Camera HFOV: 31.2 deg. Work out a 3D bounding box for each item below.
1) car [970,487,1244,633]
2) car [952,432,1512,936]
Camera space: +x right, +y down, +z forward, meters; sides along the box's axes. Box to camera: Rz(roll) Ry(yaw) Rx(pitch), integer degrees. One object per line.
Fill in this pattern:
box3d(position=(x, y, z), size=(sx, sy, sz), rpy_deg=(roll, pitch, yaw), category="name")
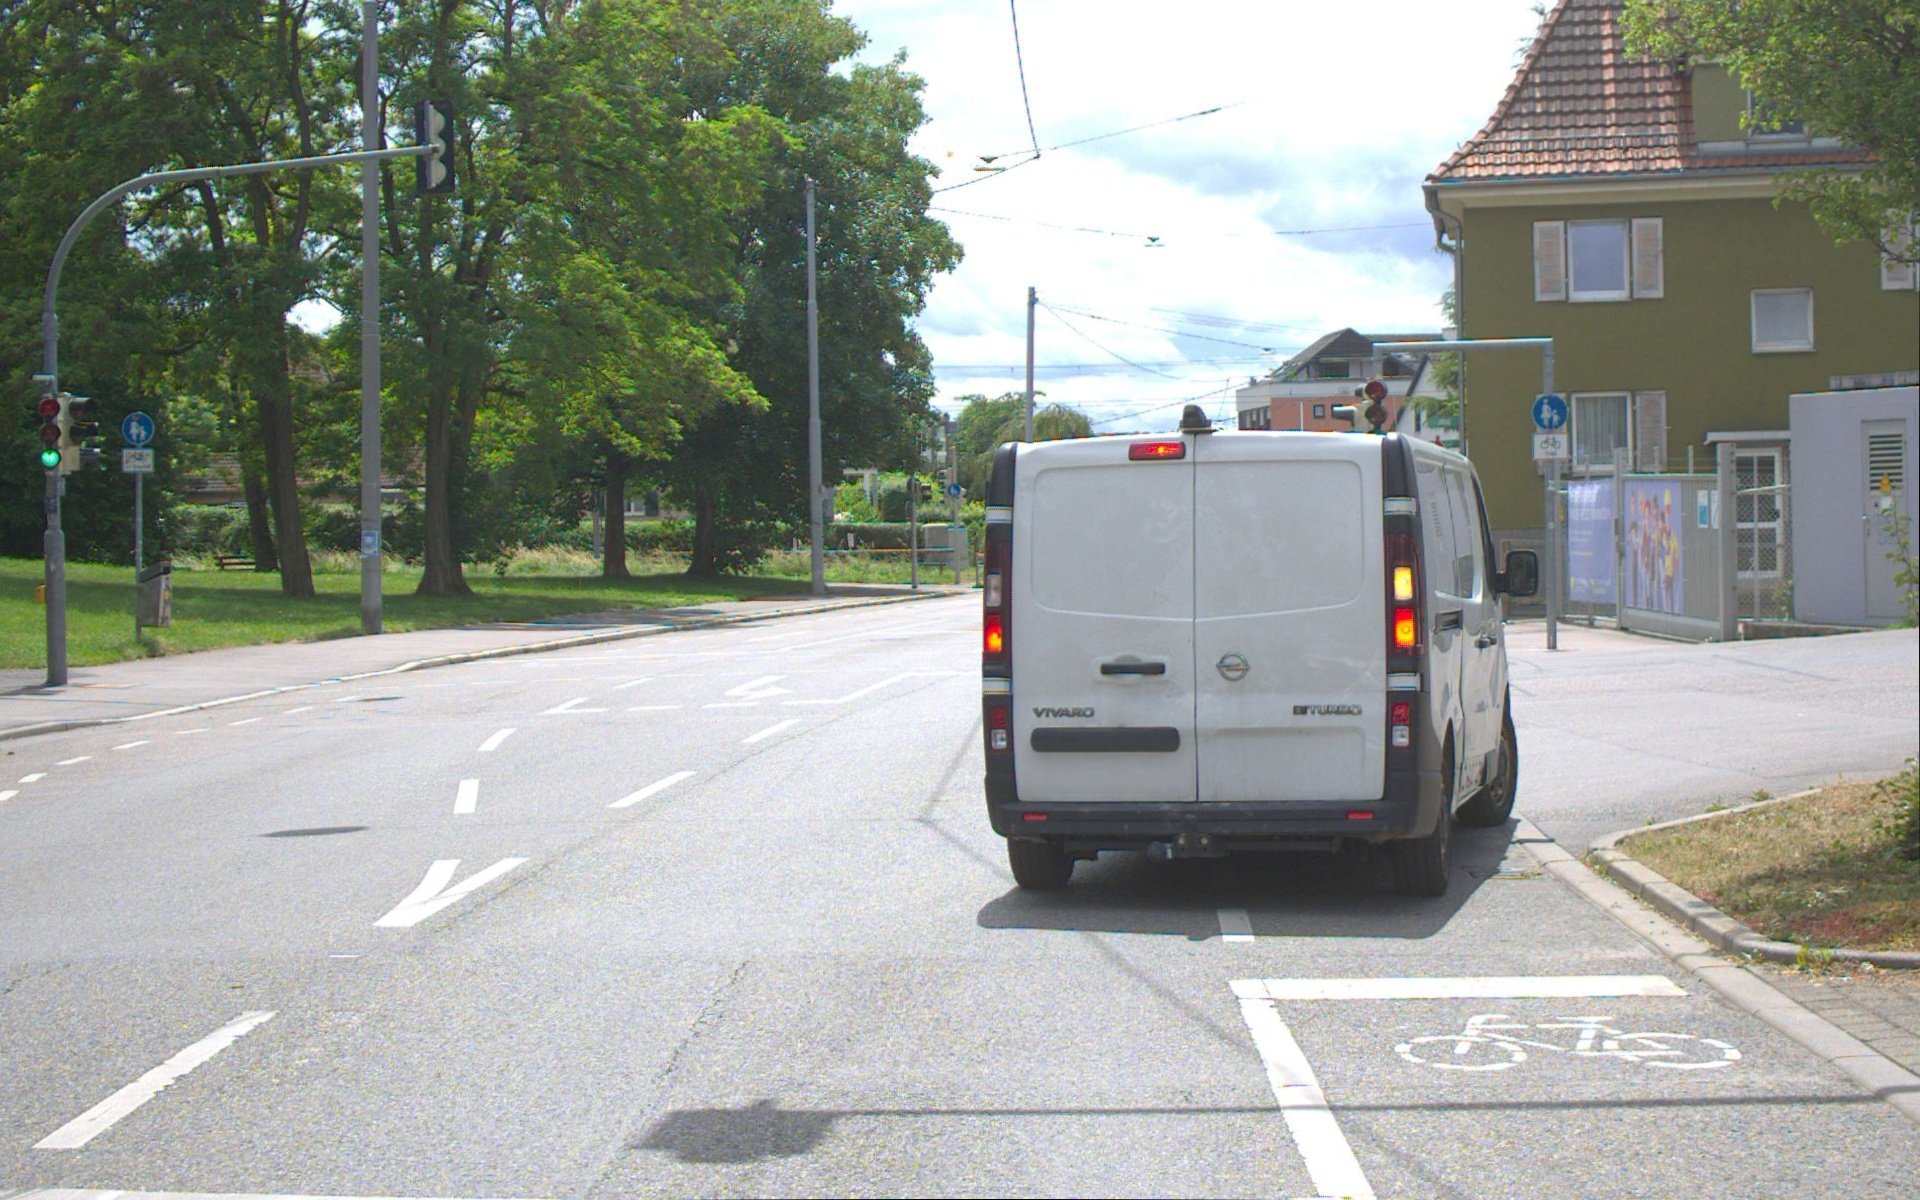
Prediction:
box3d(position=(1.637, -0.469, 39.729), size=(1.603, 1.601, 4.001), rpy_deg=(0, 1, -23), category="car")
box3d(position=(1.432, 0.256, 15.896), size=(1.940, 1.954, 4.831), rpy_deg=(1, 2, 12), category="car")
